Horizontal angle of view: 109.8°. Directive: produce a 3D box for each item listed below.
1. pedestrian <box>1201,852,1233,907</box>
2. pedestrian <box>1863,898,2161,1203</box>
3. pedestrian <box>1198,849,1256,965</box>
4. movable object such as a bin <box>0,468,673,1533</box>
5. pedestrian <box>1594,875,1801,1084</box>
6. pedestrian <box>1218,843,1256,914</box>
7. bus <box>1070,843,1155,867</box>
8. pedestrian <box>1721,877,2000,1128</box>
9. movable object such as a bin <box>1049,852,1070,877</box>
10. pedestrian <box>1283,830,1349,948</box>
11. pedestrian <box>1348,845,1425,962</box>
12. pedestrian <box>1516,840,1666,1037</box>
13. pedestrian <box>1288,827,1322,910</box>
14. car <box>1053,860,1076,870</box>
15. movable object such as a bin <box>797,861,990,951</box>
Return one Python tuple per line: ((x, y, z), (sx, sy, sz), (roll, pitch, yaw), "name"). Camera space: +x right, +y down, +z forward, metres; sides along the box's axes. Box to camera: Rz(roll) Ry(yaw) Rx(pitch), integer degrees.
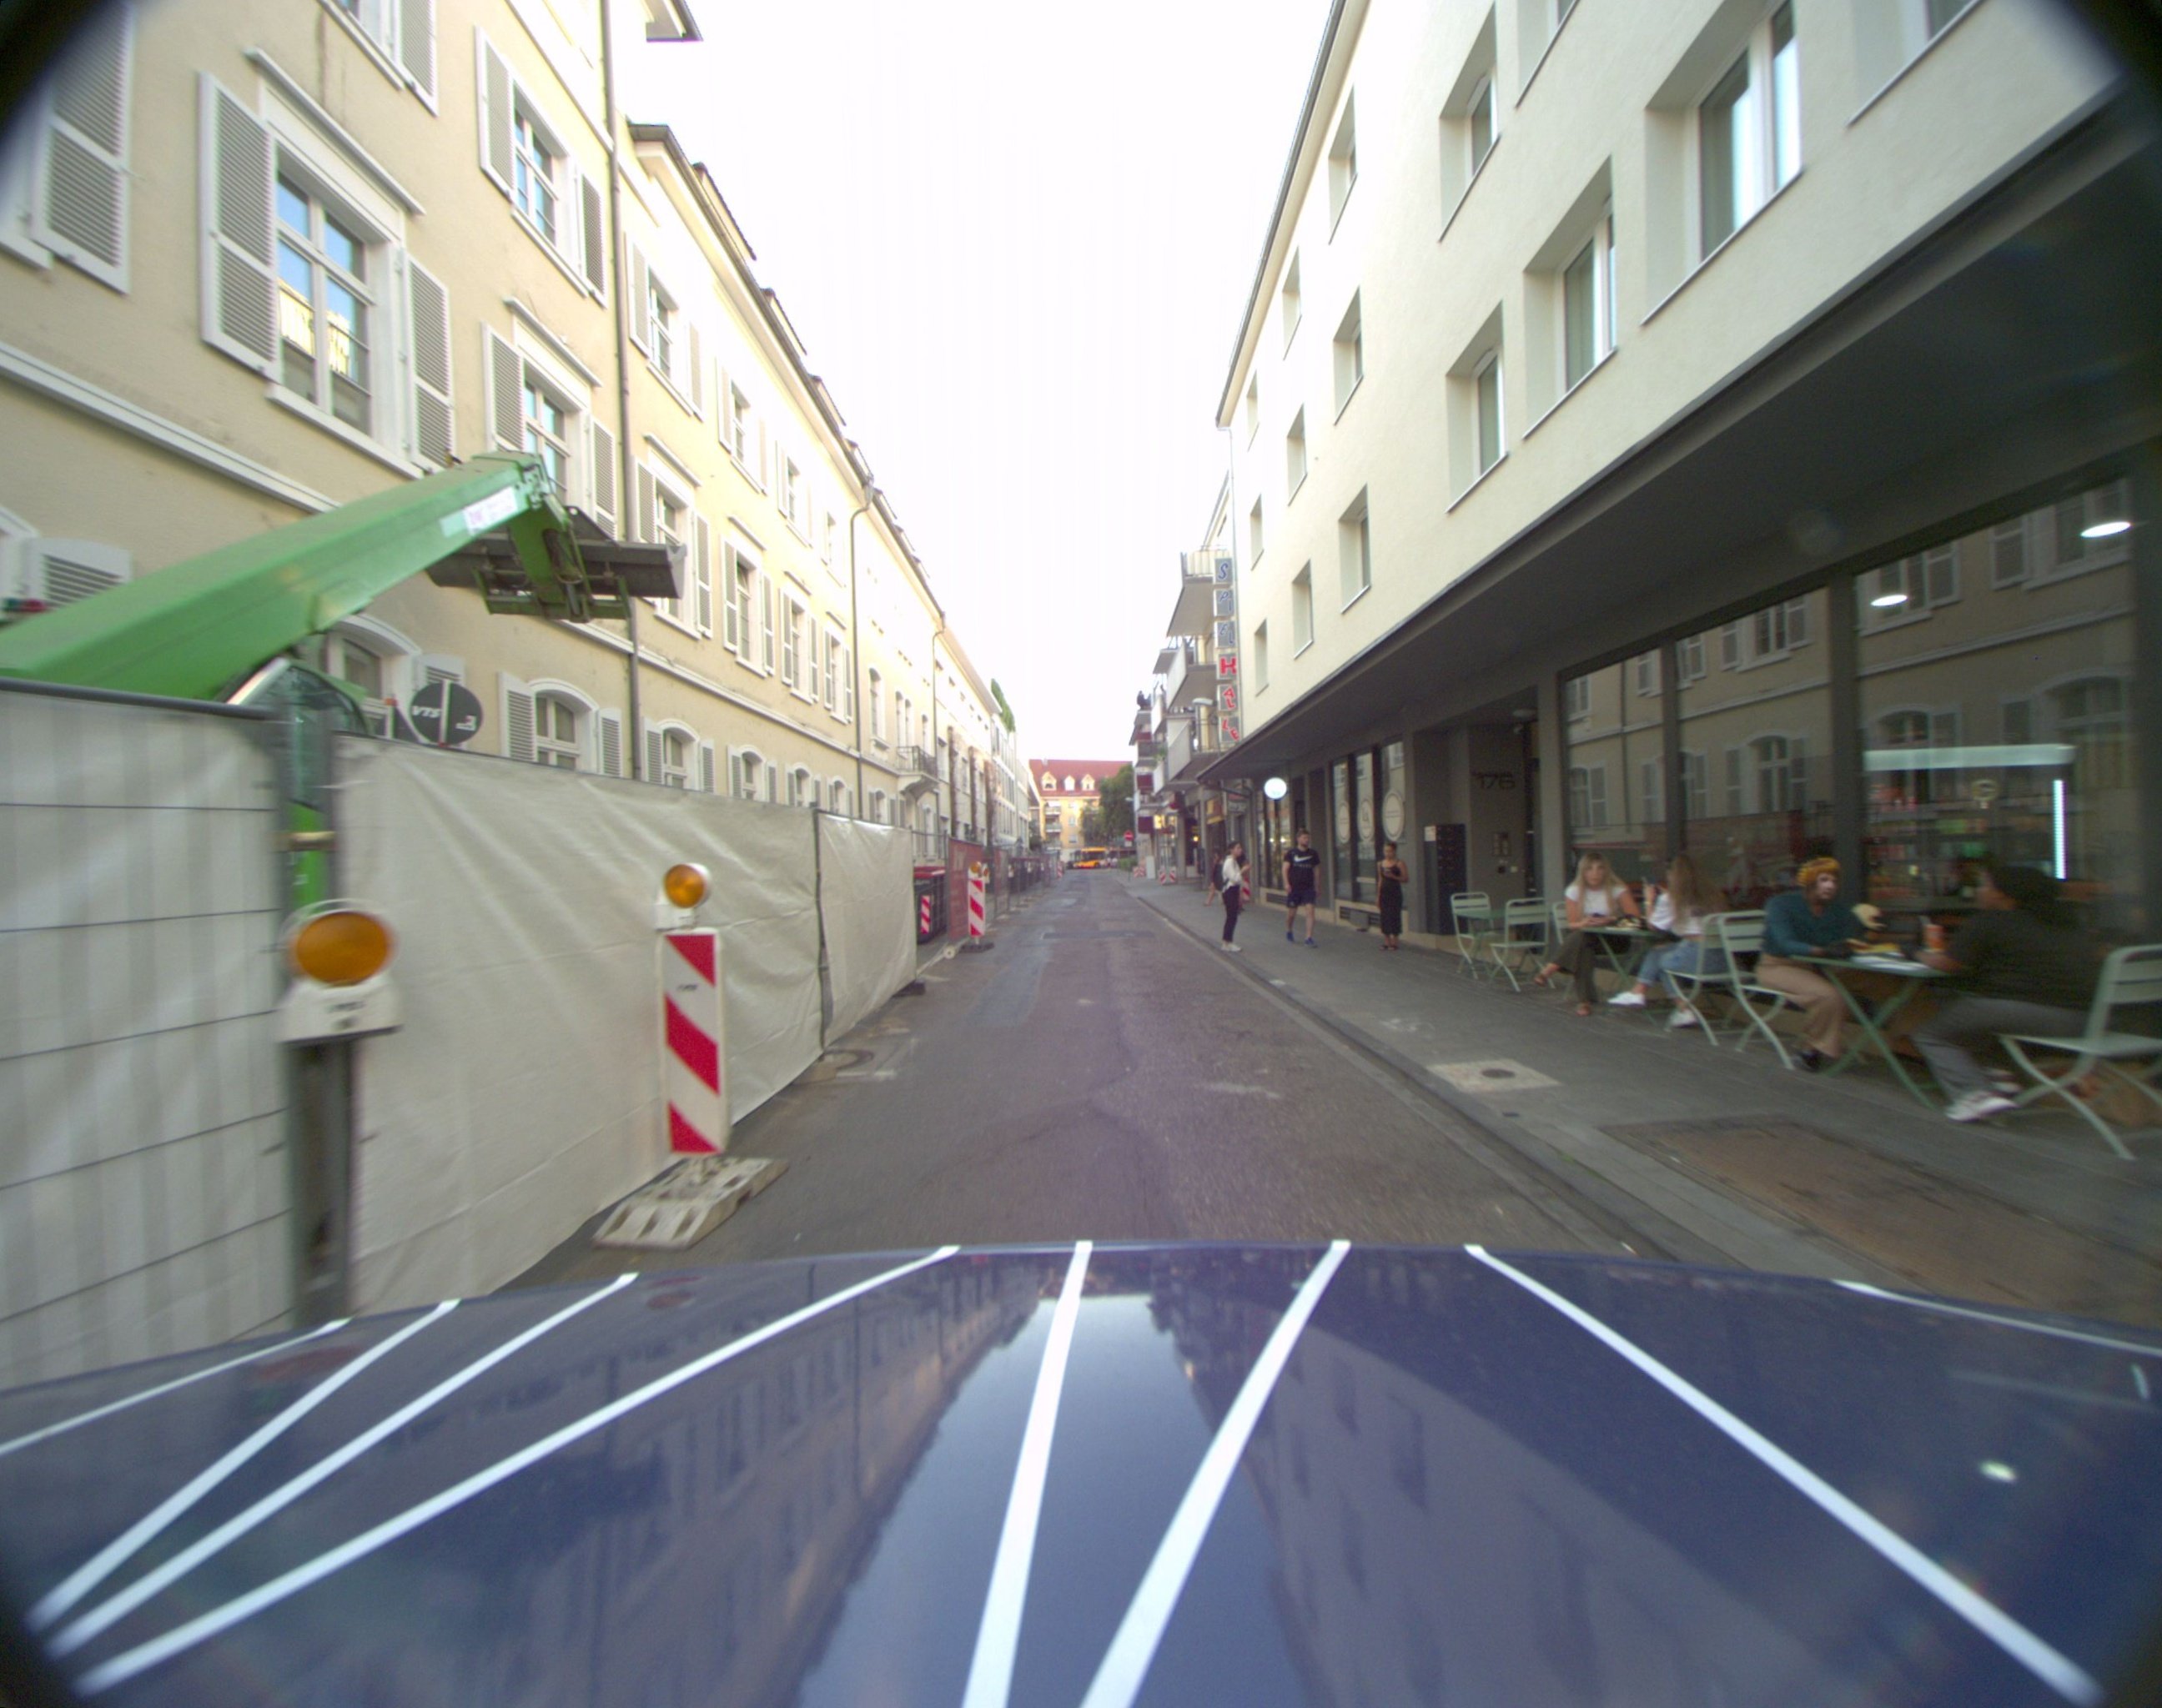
((4.042, 0.740, 22.641), (0.710, 1.569, 0.613), (-4, 1, -3), "pedestrian")
((4.378, 0.844, 3.518), (0.705, 1.188, 0.691), (-5, 0, 3), "pedestrian")
((2.269, 0.787, 11.764), (0.783, 1.729, 0.760), (0, 0, 19), "pedestrian")
((-4.248, 0.409, 2.720), (2.642, 2.855, 5.564), (-1, 0, -2), "movable object such as a bin")
((4.284, 0.803, 5.318), (0.707, 1.278, 0.859), (-3, 0, -24), "pedestrian")
((4.023, 0.626, 19.658), (0.706, 1.771, 0.932), (-3, 0, 0), "pedestrian")
((4.898, 0.091, 117.039), (12.548, 3.306, 3.917), (-2, 1, -24), "bus")
((4.393, 0.790, 4.357), (0.705, 1.232, 0.778), (-5, 0, 4), "pedestrian")
((-2.394, 1.126, 85.744), (2.096, 2.631, 4.373), (-3, 0, 1), "movable object such as a bin")
((3.771, 0.546, 12.250), (0.716, 1.800, 0.933), (-3, 0, 1), "pedestrian")
((4.303, 0.682, 10.719), (0.659, 1.560, 0.637), (-4, 0, -25), "pedestrian")
((4.278, 0.676, 6.441), (0.705, 1.538, 0.861), (-3, 0, 8), "pedestrian")
((4.919, 0.312, 16.739), (0.545, 1.800, 0.613), (-1, 0, 0), "pedestrian")
((-2.665, 1.764, 119.055), (1.795, 1.466, 3.990), (-1, 0, -33), "car")
((-4.031, 1.042, 18.219), (2.898, 1.655, 7.293), (-1, -1, -1), "movable object such as a bin")
